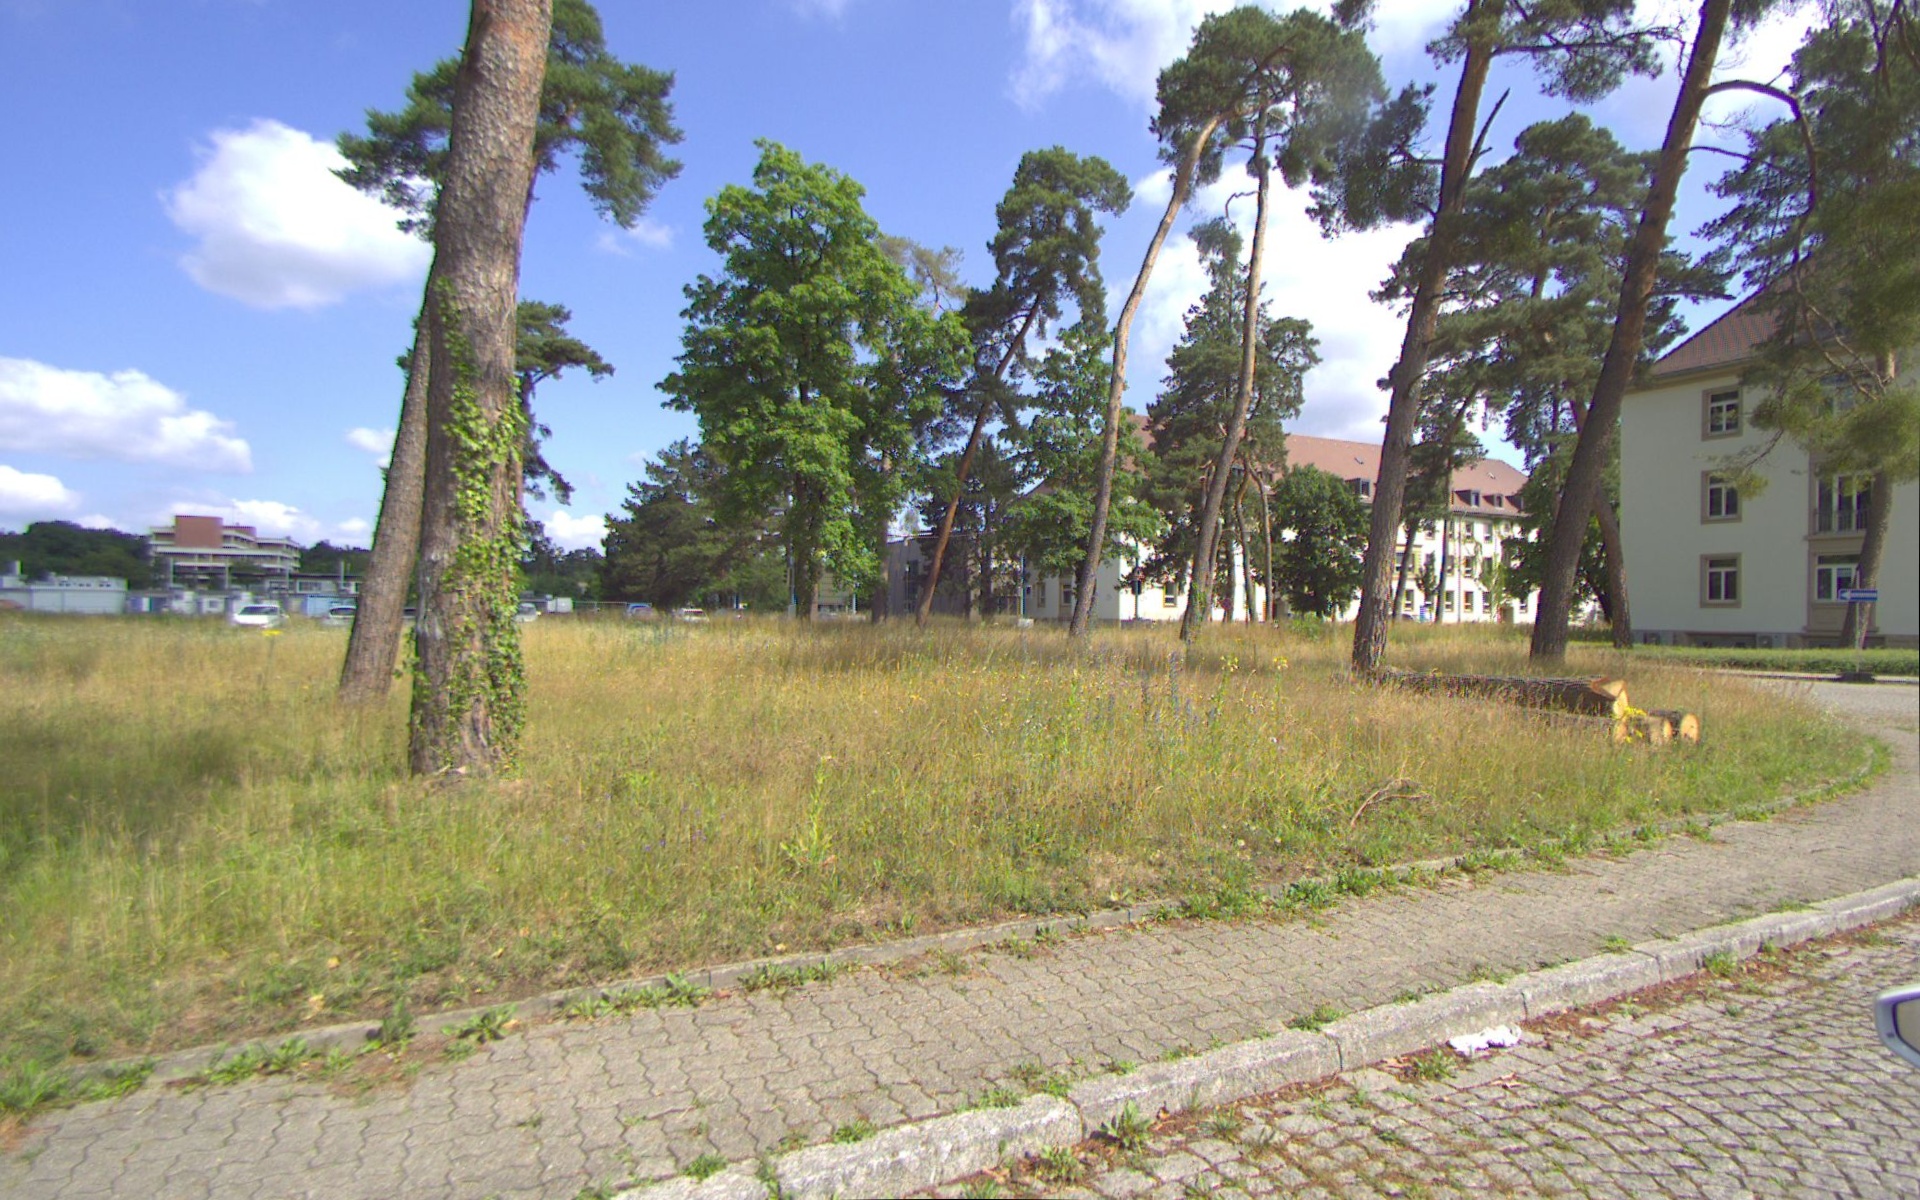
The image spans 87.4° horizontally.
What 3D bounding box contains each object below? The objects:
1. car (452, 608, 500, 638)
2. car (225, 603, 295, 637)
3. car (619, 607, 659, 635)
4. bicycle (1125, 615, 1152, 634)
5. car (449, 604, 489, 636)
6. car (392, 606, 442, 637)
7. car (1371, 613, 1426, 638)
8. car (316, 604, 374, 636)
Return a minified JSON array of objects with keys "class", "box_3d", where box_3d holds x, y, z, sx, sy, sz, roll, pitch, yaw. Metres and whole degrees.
[{"class":"car","box_3d":[-22.303,1.051,46.260,1.876,1.326,4.051,1,-1,-27]},{"class":"car","box_3d":[-29.743,0.854,42.777,1.876,1.366,4.043,1,-1,-27]},{"class":"car","box_3d":[-21.626,1.421,67.562,1.876,1.803,4.051,1,-1,-27]},{"class":"bicycle","box_3d":[10.898,1.509,61.228,1.560,1.115,0.490,1,-1,-16]},{"class":"car","box_3d":[-27.381,1.125,55.956,1.876,1.724,4.051,1,-1,-27]},{"class":"car","box_3d":[-24.412,0.966,45.234,1.876,1.337,4.051,1,-1,-27]},{"class":"car","box_3d":[35.643,2.067,81.733,1.690,2.018,4.047,1,-1,-25]},{"class":"car","box_3d":[-27.063,0.879,44.327,1.876,1.356,4.051,1,-1,-27]}]
